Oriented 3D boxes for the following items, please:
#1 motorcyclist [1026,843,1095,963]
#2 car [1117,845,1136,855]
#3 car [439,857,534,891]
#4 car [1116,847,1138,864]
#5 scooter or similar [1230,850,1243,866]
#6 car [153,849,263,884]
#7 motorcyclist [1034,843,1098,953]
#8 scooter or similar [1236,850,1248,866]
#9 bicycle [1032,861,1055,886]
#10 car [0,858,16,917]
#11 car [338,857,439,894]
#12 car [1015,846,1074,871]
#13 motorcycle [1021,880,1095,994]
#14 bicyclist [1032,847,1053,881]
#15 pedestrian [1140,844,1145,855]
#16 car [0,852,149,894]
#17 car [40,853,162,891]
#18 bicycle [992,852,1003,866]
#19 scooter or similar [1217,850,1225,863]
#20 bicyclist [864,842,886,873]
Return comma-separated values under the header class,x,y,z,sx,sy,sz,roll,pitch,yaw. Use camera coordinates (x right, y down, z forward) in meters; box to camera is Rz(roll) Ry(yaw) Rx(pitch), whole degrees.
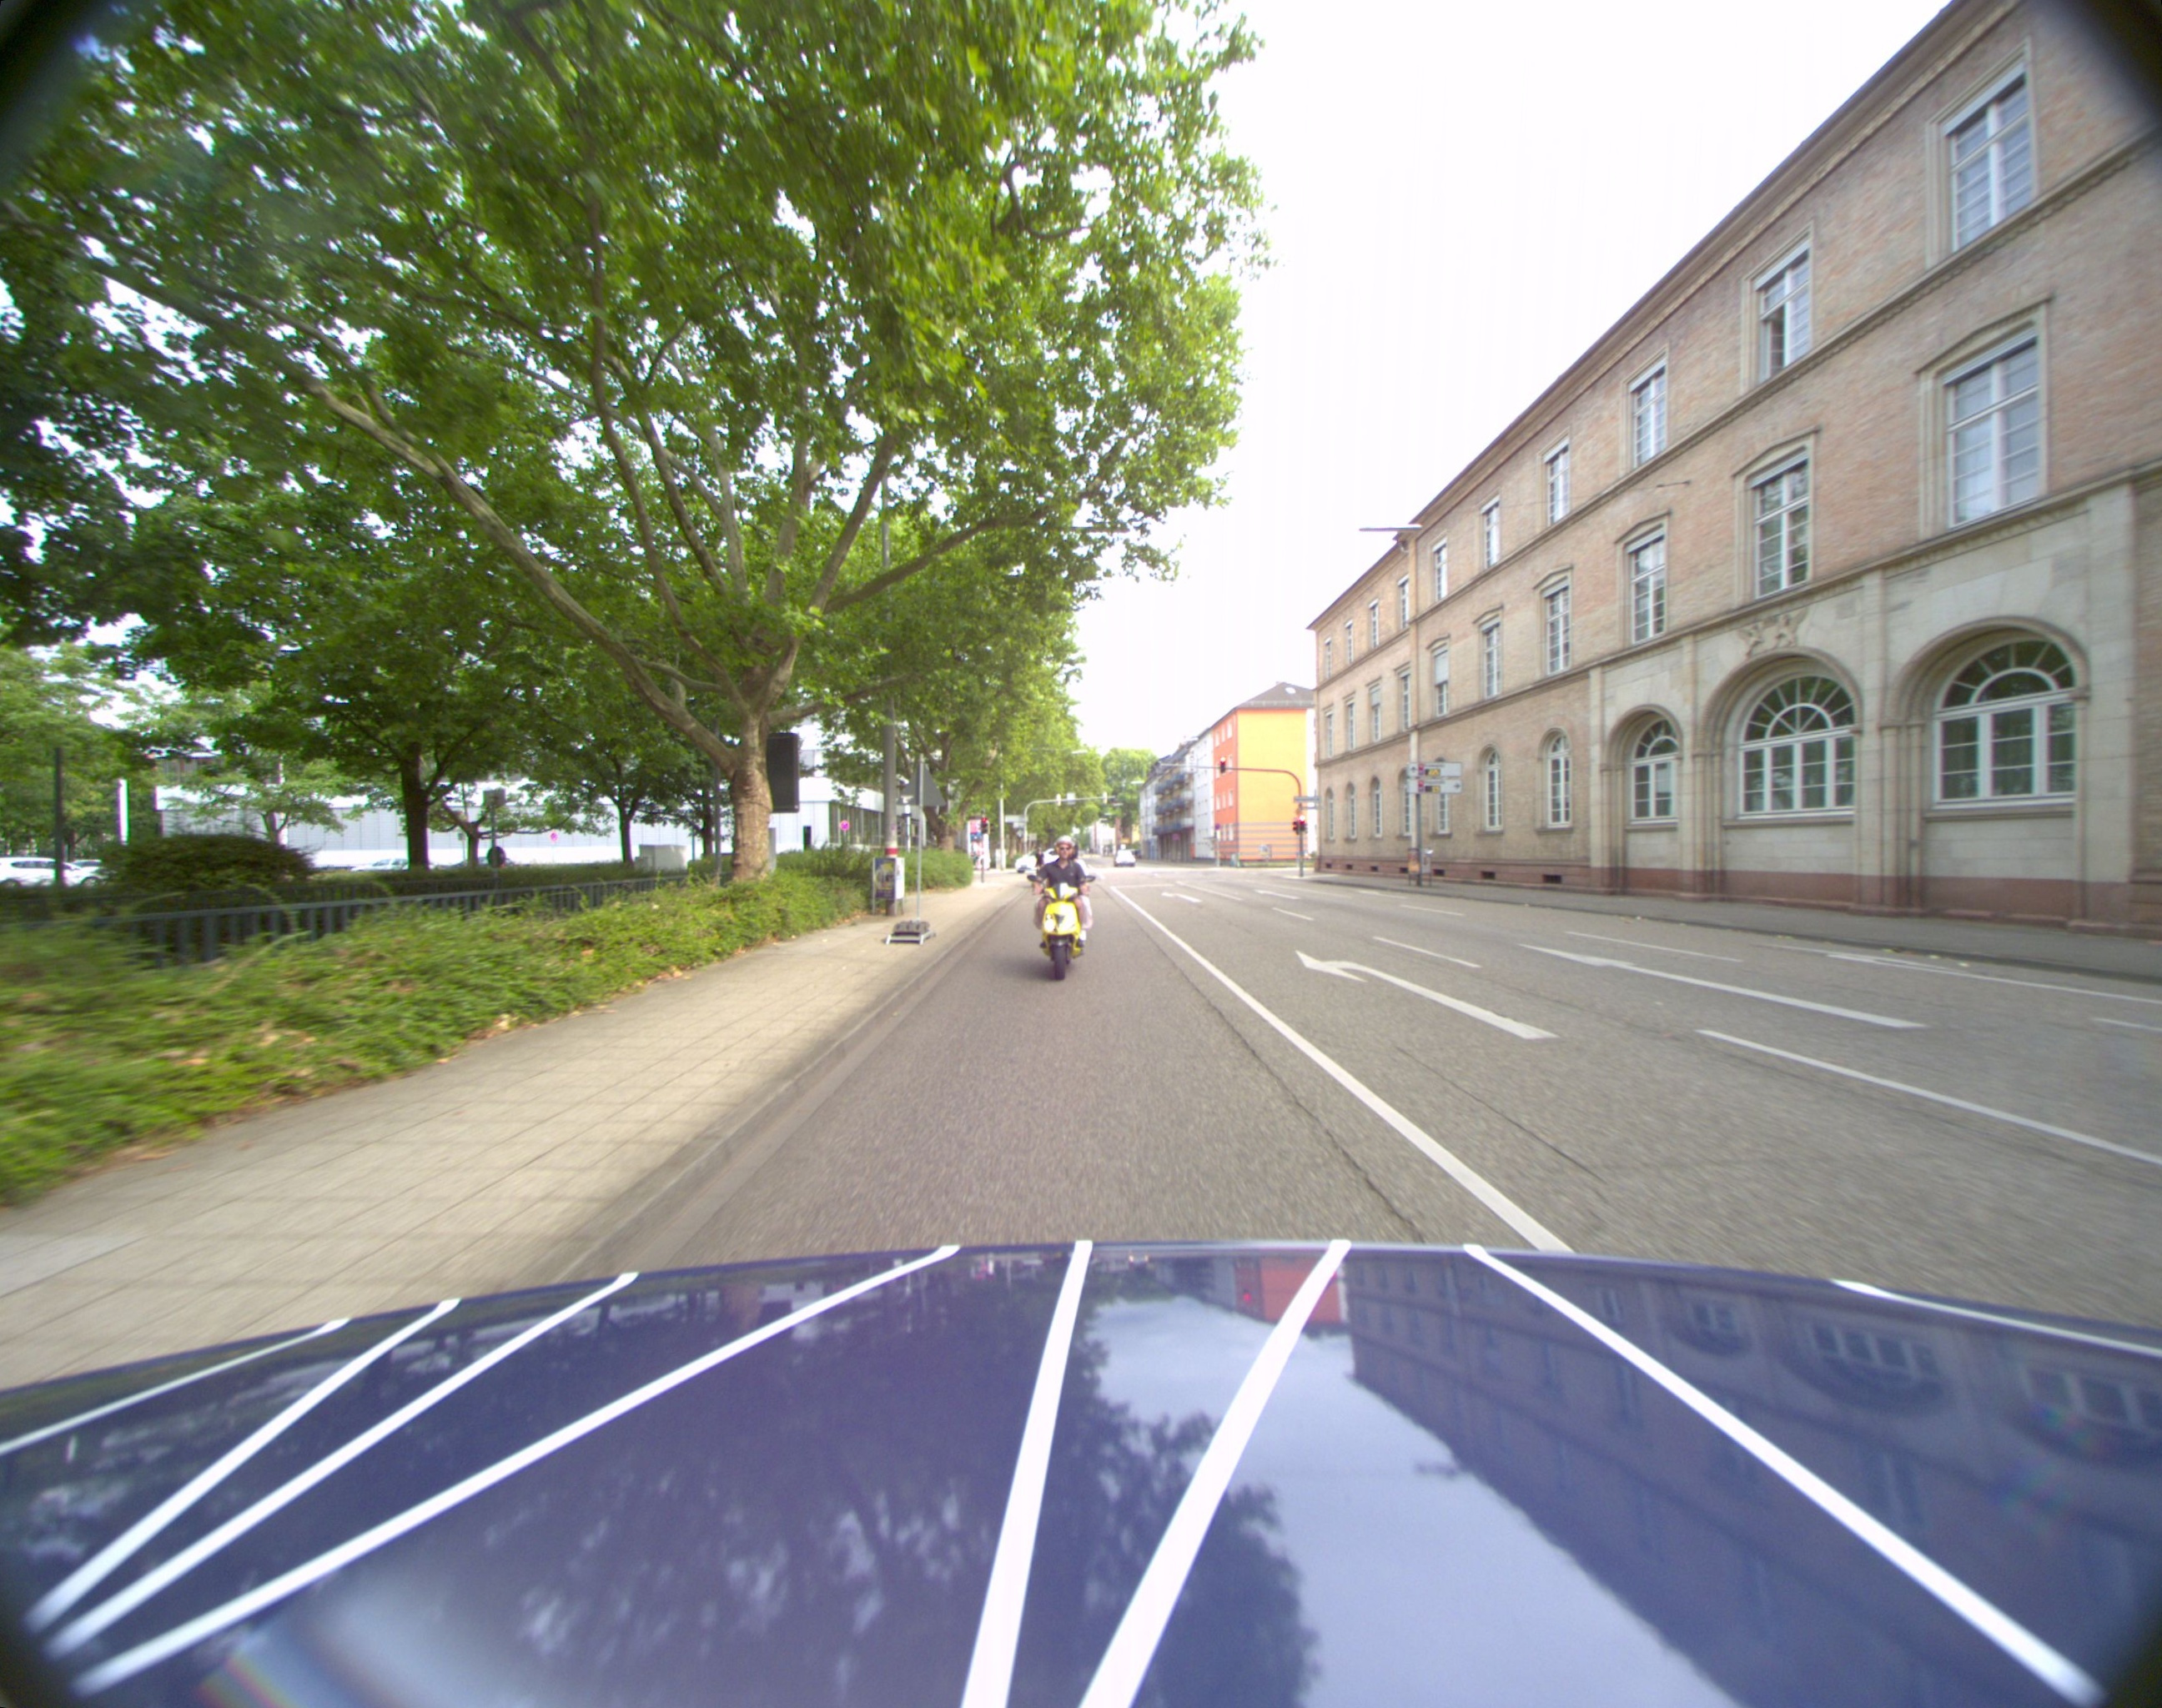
class,x,y,z,sx,sy,sz,roll,pitch,yaw
motorcyclist,-0.243,0.590,9.580,0.781,1.419,0.764,-2,1,1
car,9.905,-0.928,166.067,3.997,2.002,2.000,-3,1,-1
car,-36.373,1.209,46.600,4.000,1.849,1.998,-3,1,-10
car,4.121,0.113,68.860,1.673,1.430,3.819,-1,0,-1
scooter or similar,11.700,0.317,57.216,0.330,1.172,1.341,-3,1,-14
car,-52.275,0.726,45.576,3.879,1.850,1.952,-3,1,-10
motorcyclist,-0.185,0.574,10.271,0.781,1.419,0.688,-2,1,1
scooter or similar,12.168,0.284,57.484,0.330,1.151,1.352,-3,1,-14
bicycle,-1.658,0.838,33.387,0.771,1.009,2.406,-3,1,-7
car,-33.388,1.055,20.719,1.999,1.784,4.771,-3,0,-4
car,-42.133,1.261,46.335,4.000,2.002,1.998,-3,1,-10
car,-2.505,0.295,52.999,1.995,1.543,4.529,-2,0,29
motorcycle,-0.242,0.984,9.677,0.781,1.171,1.992,-2,1,2
bicyclist,-1.692,0.417,33.325,0.785,1.438,0.913,-3,1,-8
pedestrian,10.695,-0.780,132.430,0.842,2.002,0.875,-2,1,3
car,-43.694,0.788,32.366,1.998,1.621,4.773,-3,0,1
car,-57.438,1.036,44.593,4.000,2.002,1.998,-3,1,-10
bicycle,-7.230,0.445,65.779,0.700,1.162,1.725,-3,0,0
scooter or similar,11.807,0.210,64.055,0.369,1.118,1.354,-3,1,0
bicyclist,-11.209,0.187,41.391,0.831,1.669,0.915,-1,2,4
